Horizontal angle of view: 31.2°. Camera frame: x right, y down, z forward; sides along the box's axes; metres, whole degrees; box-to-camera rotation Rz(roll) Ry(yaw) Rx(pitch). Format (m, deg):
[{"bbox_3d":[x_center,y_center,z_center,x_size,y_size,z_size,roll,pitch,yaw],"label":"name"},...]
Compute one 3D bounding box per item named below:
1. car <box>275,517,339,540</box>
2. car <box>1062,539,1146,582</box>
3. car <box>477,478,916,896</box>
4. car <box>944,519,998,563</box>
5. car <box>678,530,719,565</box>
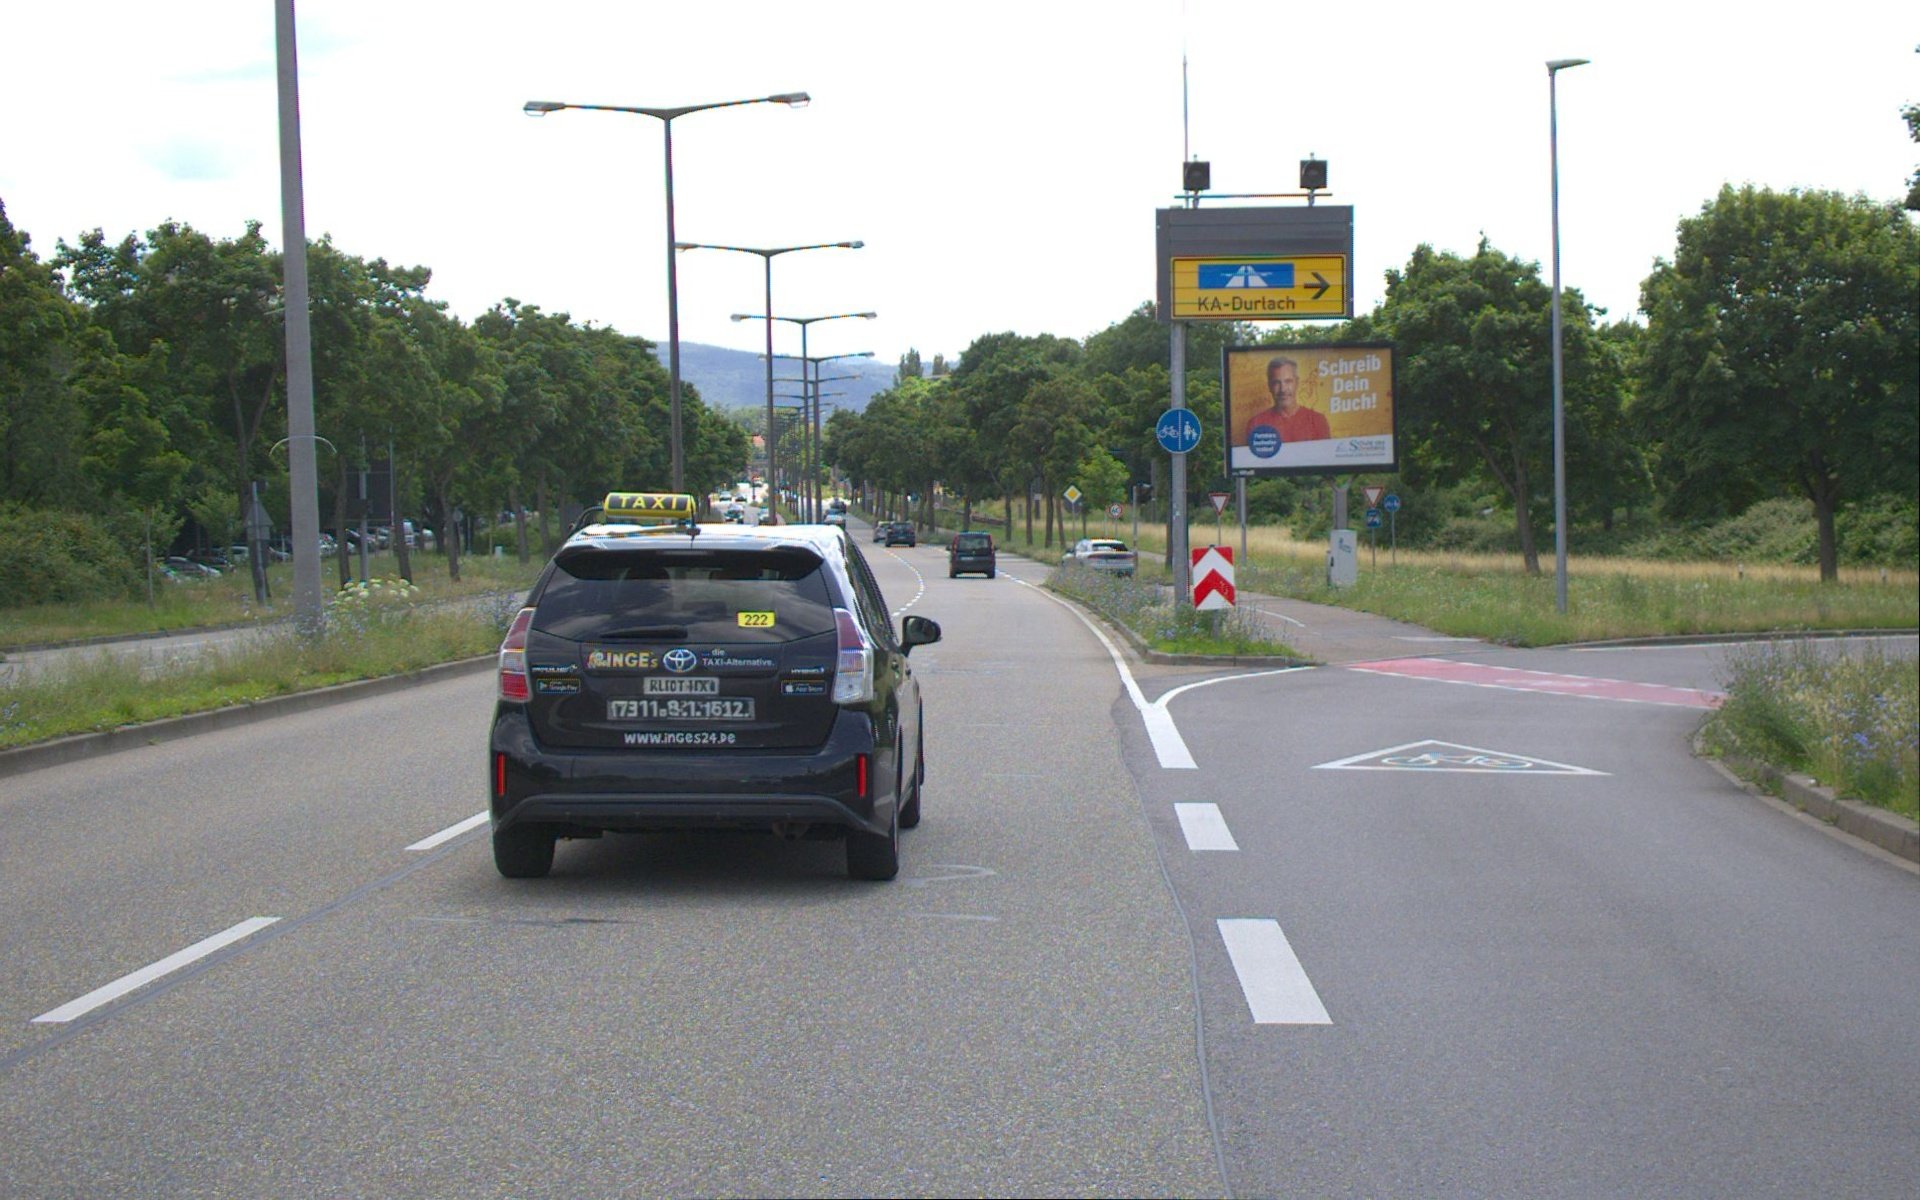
[{"bbox_3d":[-42.267,-4.633,222.510,3.785,1.383,1.786,1,2,2],"label":"car"},{"bbox_3d":[5.389,-1.502,129.045,1.993,1.503,4.002,0,2,-16],"label":"car"},{"bbox_3d":[-1.150,0.288,16.049,1.779,1.678,4.001,0,2,-2],"label":"car"},{"bbox_3d":[0.421,-2.391,137.766,1.993,1.656,4.001,1,2,-2],"label":"car"},{"bbox_3d":[-14.088,-2.835,185.279,1.876,1.784,4.729,-3,1,-1],"label":"car"}]
